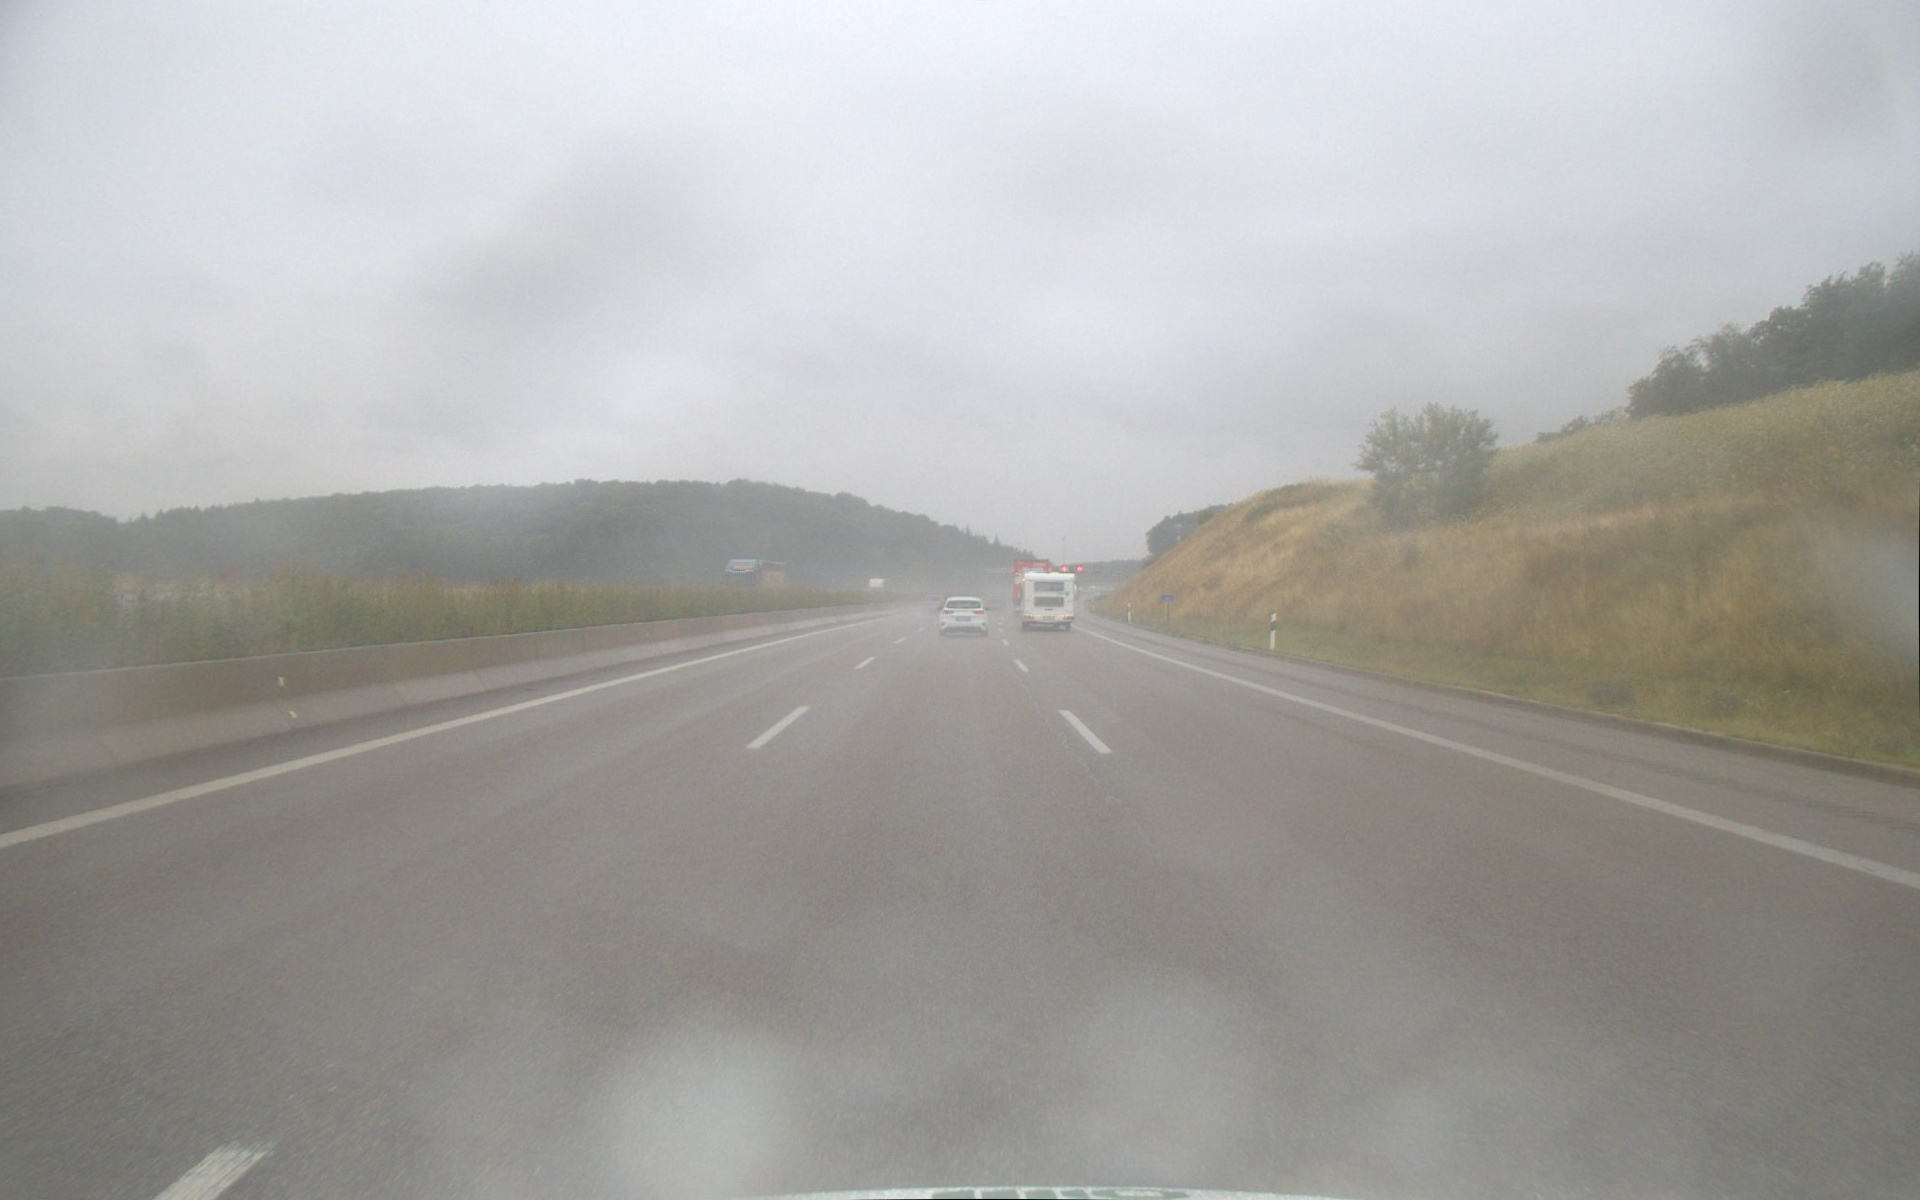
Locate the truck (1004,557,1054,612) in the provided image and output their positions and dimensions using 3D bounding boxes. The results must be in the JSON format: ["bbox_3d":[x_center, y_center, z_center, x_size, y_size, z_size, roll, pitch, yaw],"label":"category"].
[{"bbox_3d":[5.068,-1.183,122.271,3.454,3.808,11.429,1,1,2],"label":"truck"}]

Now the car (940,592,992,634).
[{"bbox_3d":[0.194,0.488,61.086,1.829,1.488,3.999,0,-1,0],"label":"car"}]

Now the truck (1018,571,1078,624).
[{"bbox_3d":[3.862,-0.113,73.734,2.359,2.292,4.692,0,0,-1],"label":"truck"}]

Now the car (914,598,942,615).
[{"bbox_3d":[-2.337,0.474,118.669,1.788,1.177,4.209,1,-1,-4],"label":"car"}]
